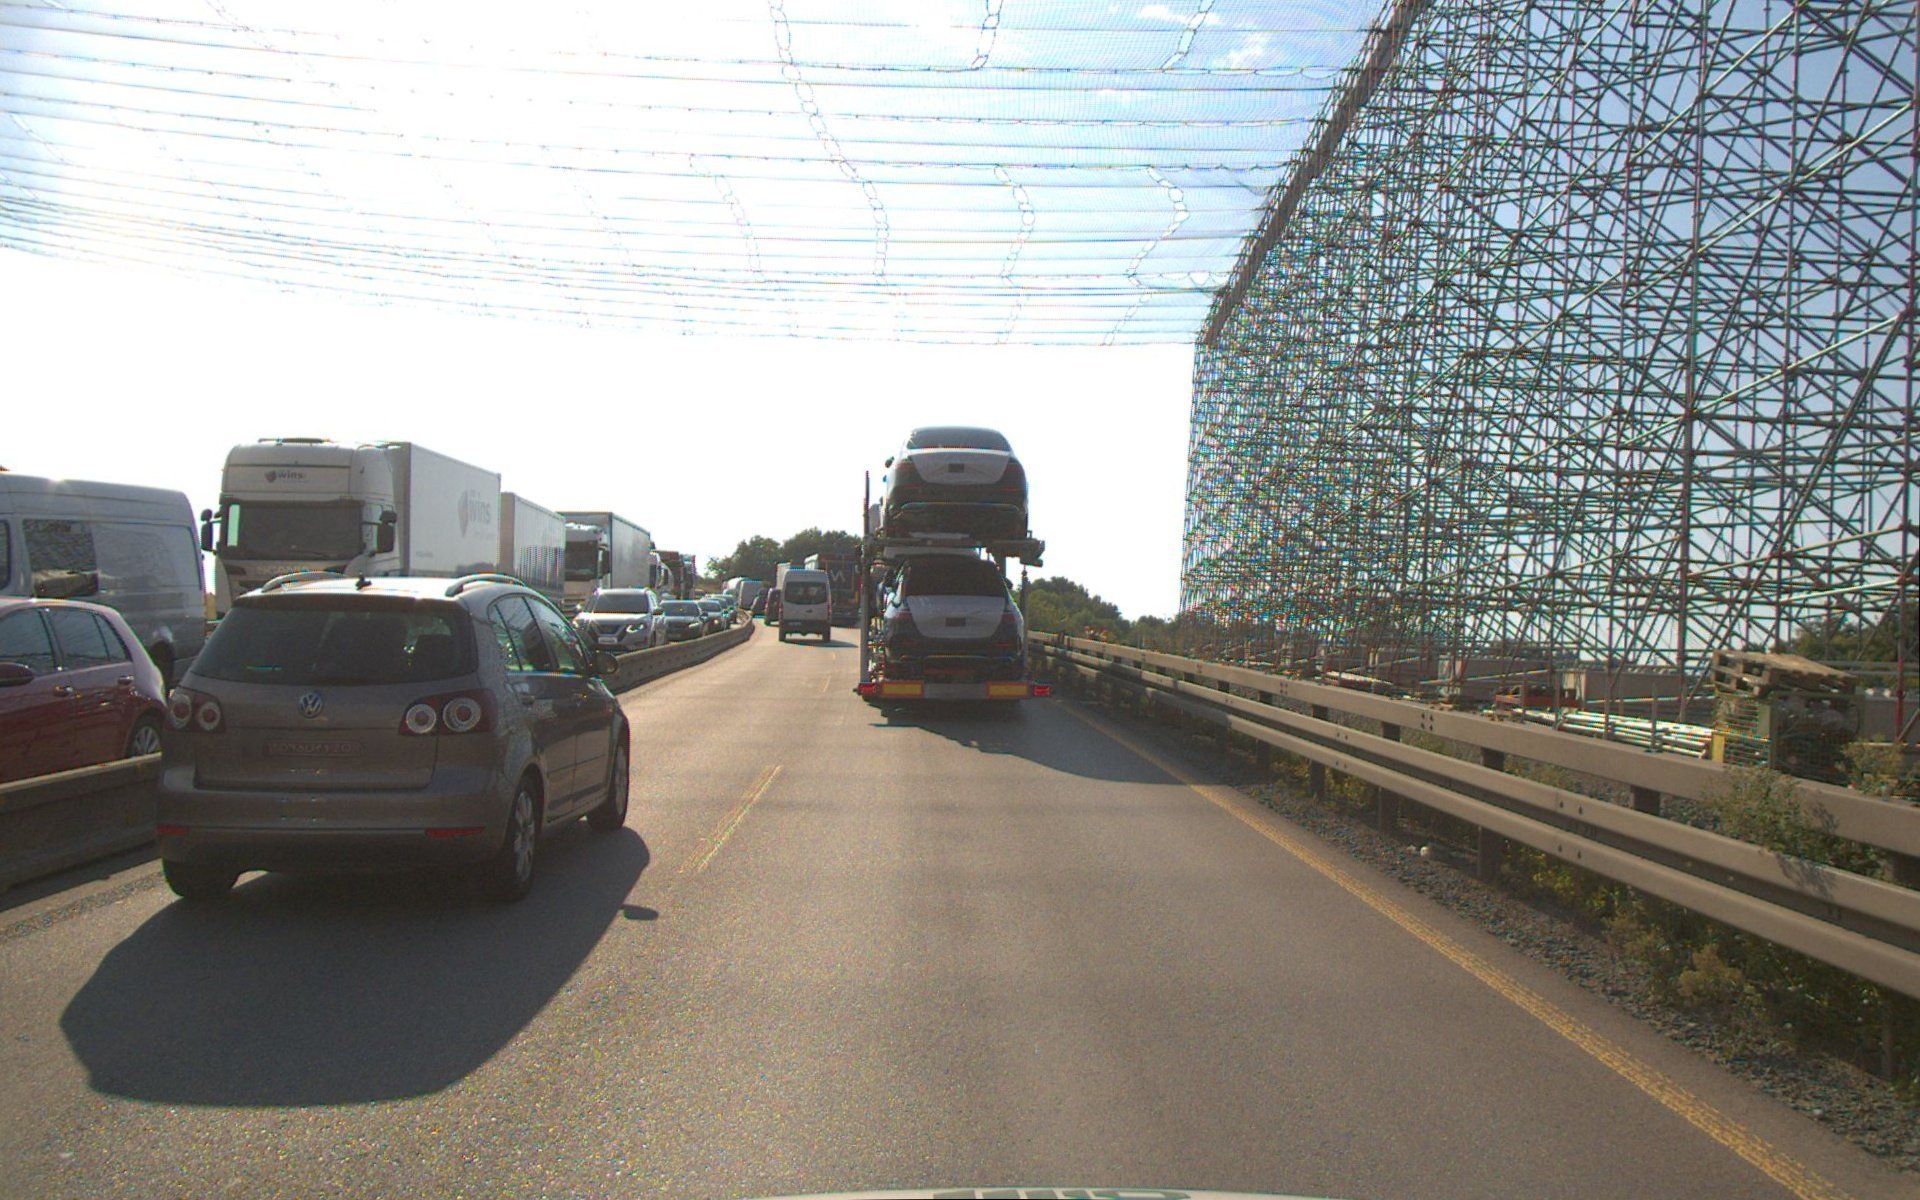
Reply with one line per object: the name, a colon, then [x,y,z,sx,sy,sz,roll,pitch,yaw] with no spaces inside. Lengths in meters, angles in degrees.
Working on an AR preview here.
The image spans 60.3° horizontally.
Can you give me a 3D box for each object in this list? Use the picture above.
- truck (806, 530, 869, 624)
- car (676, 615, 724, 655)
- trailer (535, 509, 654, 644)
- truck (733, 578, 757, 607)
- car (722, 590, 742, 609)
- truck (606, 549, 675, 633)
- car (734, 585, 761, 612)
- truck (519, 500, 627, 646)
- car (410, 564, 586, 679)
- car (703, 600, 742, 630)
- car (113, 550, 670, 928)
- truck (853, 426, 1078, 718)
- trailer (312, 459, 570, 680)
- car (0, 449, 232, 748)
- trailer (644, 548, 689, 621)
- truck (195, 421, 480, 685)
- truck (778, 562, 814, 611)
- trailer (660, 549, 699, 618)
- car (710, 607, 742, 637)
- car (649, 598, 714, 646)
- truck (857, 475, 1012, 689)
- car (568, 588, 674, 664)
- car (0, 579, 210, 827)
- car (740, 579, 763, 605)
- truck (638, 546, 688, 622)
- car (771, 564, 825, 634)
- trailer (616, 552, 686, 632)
truck: [-7.489,-1.293,99.677,3.223,5.328,9.919,1,0,-7]
car: [-9.827,1.312,62.654,1.576,1.400,3.896,1,0,-6]
trailer: [-12.347,-0.693,57.055,2.381,4.032,14.079,1,0,-6]
truck: [-23.952,-0.816,184.581,2.541,3.226,6.666,1,0,-7]
car: [-22.509,-0.061,163.407,1.802,1.868,3.993,1,0,-7]
truck: [-13.661,-0.356,71.059,2.367,3.429,5.610,1,0,-6]
car: [-14.762,-0.120,115.054,1.791,1.803,3.994,1,0,-6]
truck: [-11.596,-0.750,49.992,2.426,4.116,5.610,1,0,-6]
car: [-6.994,0.312,25.468,1.773,1.595,4.362,1,0,-4]
car: [-11.659,0.725,81.343,1.759,1.422,4.237,1,0,-7]
car: [-2.834,0.616,9.228,1.657,1.624,4.000,1,0,1]
truck: [-0.197,-0.320,25.763,2.743,3.558,10.598,1,0,-3]
trailer: [-11.246,-0.540,37.523,2.617,4.086,13.320,1,0,-5]
car: [-10.065,-0.022,17.114,2.197,2.760,7.077,1,0,-3]
trailer: [-16.574,-0.796,93.897,2.264,3.856,12.027,1,0,-9]
truck: [-10.518,-0.692,28.794,2.579,3.978,7.199,1,0,-4]
truck: [-13.029,-1.041,131.084,2.483,3.712,8.889,1,0,-8]
trailer: [-19.072,-1.070,112.546,2.430,4.404,10.486,1,0,-10]
car: [-13.182,1.229,93.107,1.718,1.614,3.935,1,0,-8]
car: [-9.150,0.700,54.651,1.743,1.475,4.658,1,0,-5]
truck: [-0.719,-0.312,35.198,2.781,3.858,9.980,1,0,-3]
car: [-7.574,0.559,37.315,1.773,1.595,4.362,1,0,-4]
car: [-6.476,0.588,10.176,1.772,1.444,4.516,1,0,-2]
car: [-16.986,-0.602,134.600,1.600,2.049,3.990,1,0,-10]
truck: [-15.730,-0.811,87.962,2.387,3.851,5.606,1,0,-9]
car: [-6.240,-0.018,63.283,1.884,2.536,5.400,1,0,-7]
trailer: [-14.334,-0.322,77.440,2.262,3.420,12.036,1,0,-6]
